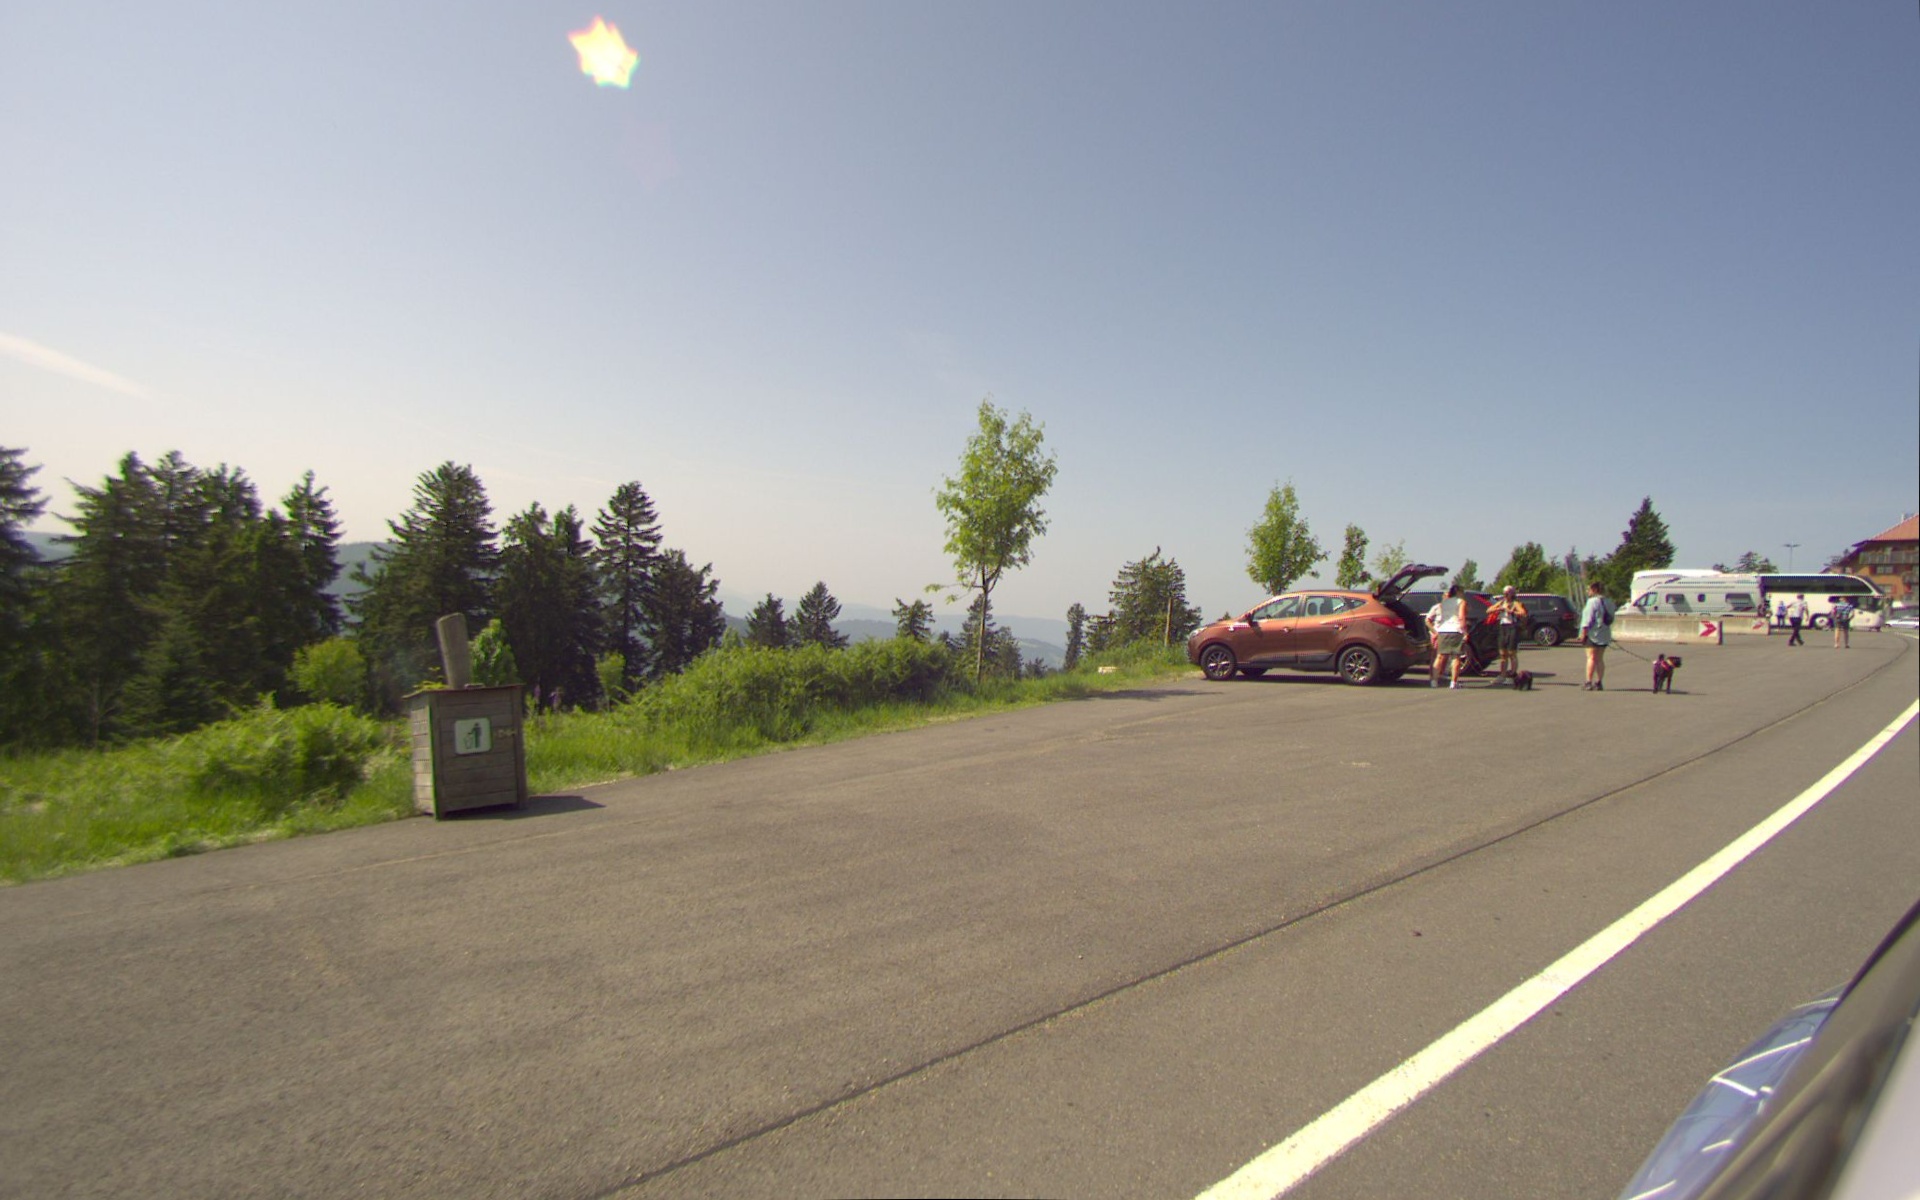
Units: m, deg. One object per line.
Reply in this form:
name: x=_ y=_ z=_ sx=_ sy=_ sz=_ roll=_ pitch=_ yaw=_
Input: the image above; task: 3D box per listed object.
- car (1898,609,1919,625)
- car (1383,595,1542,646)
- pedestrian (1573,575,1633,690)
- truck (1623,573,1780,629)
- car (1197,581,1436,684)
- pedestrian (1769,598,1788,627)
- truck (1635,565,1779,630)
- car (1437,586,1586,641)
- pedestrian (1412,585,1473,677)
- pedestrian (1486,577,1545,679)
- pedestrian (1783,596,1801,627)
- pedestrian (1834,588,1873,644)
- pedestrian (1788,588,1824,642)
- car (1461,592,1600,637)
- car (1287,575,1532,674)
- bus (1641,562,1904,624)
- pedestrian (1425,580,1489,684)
car: x=98.252 y=1.799 z=102.808 sx=1.752 sy=1.608 sz=3.972 roll=2 pitch=1 yaw=-21
car: x=15.396 y=0.646 z=31.130 sx=1.734 sy=1.455 sz=4.000 roll=0 pitch=-2 yaw=-43
pedestrian: x=10.348 y=0.506 z=16.292 sx=0.711 sy=1.798 sz=0.618 roll=1 pitch=0 yaw=-39
truck: x=37.973 y=0.022 z=51.980 sx=6.261 sy=2.623 sz=2.303 roll=2 pitch=1 yaw=44
car: x=6.450 y=0.555 z=18.514 sx=3.810 sy=1.682 sz=1.629 roll=-1 pitch=-1 yaw=40
pedestrian: x=48.217 y=0.711 z=59.594 sx=0.615 sy=1.671 sz=0.633 roll=1 pitch=0 yaw=-23
truck: x=40.151 y=-0.194 z=54.500 sx=6.059 sy=3.236 sz=2.495 roll=2 pitch=1 yaw=41
car: x=17.789 y=0.440 z=32.753 sx=3.981 sy=1.668 sz=1.577 roll=-1 pitch=-1 yaw=40
pedestrian: x=8.698 y=0.558 z=18.232 sx=0.720 sy=1.607 sz=0.620 roll=3 pitch=0 yaw=-27
pedestrian: x=9.613 y=0.468 z=17.511 sx=0.608 sy=1.713 sz=0.717 roll=1 pitch=0 yaw=-39
pedestrian: x=48.339 y=0.681 z=58.798 sx=0.616 sy=1.780 sz=0.632 roll=1 pitch=0 yaw=-34
pedestrian: x=29.078 y=0.511 z=32.941 sx=0.760 sy=1.782 sz=0.756 roll=1 pitch=0 yaw=-33
pedestrian: x=28.219 y=0.485 z=33.761 sx=0.877 sy=1.763 sz=0.667 roll=1 pitch=0 yaw=-33
car: x=19.973 y=0.517 z=35.496 sx=3.982 sy=1.495 sz=1.747 roll=-1 pitch=-1 yaw=41
car: x=9.094 y=0.441 z=20.640 sx=4.256 sy=1.816 sz=1.866 roll=1 pitch=0 yaw=39
bus: x=51.389 y=-0.561 z=64.588 sx=12.851 sy=3.622 sz=2.793 roll=2 pitch=1 yaw=45
pedestrian: x=8.257 y=0.522 z=16.821 sx=0.674 sy=1.681 sz=0.655 roll=3 pitch=0 yaw=-33
